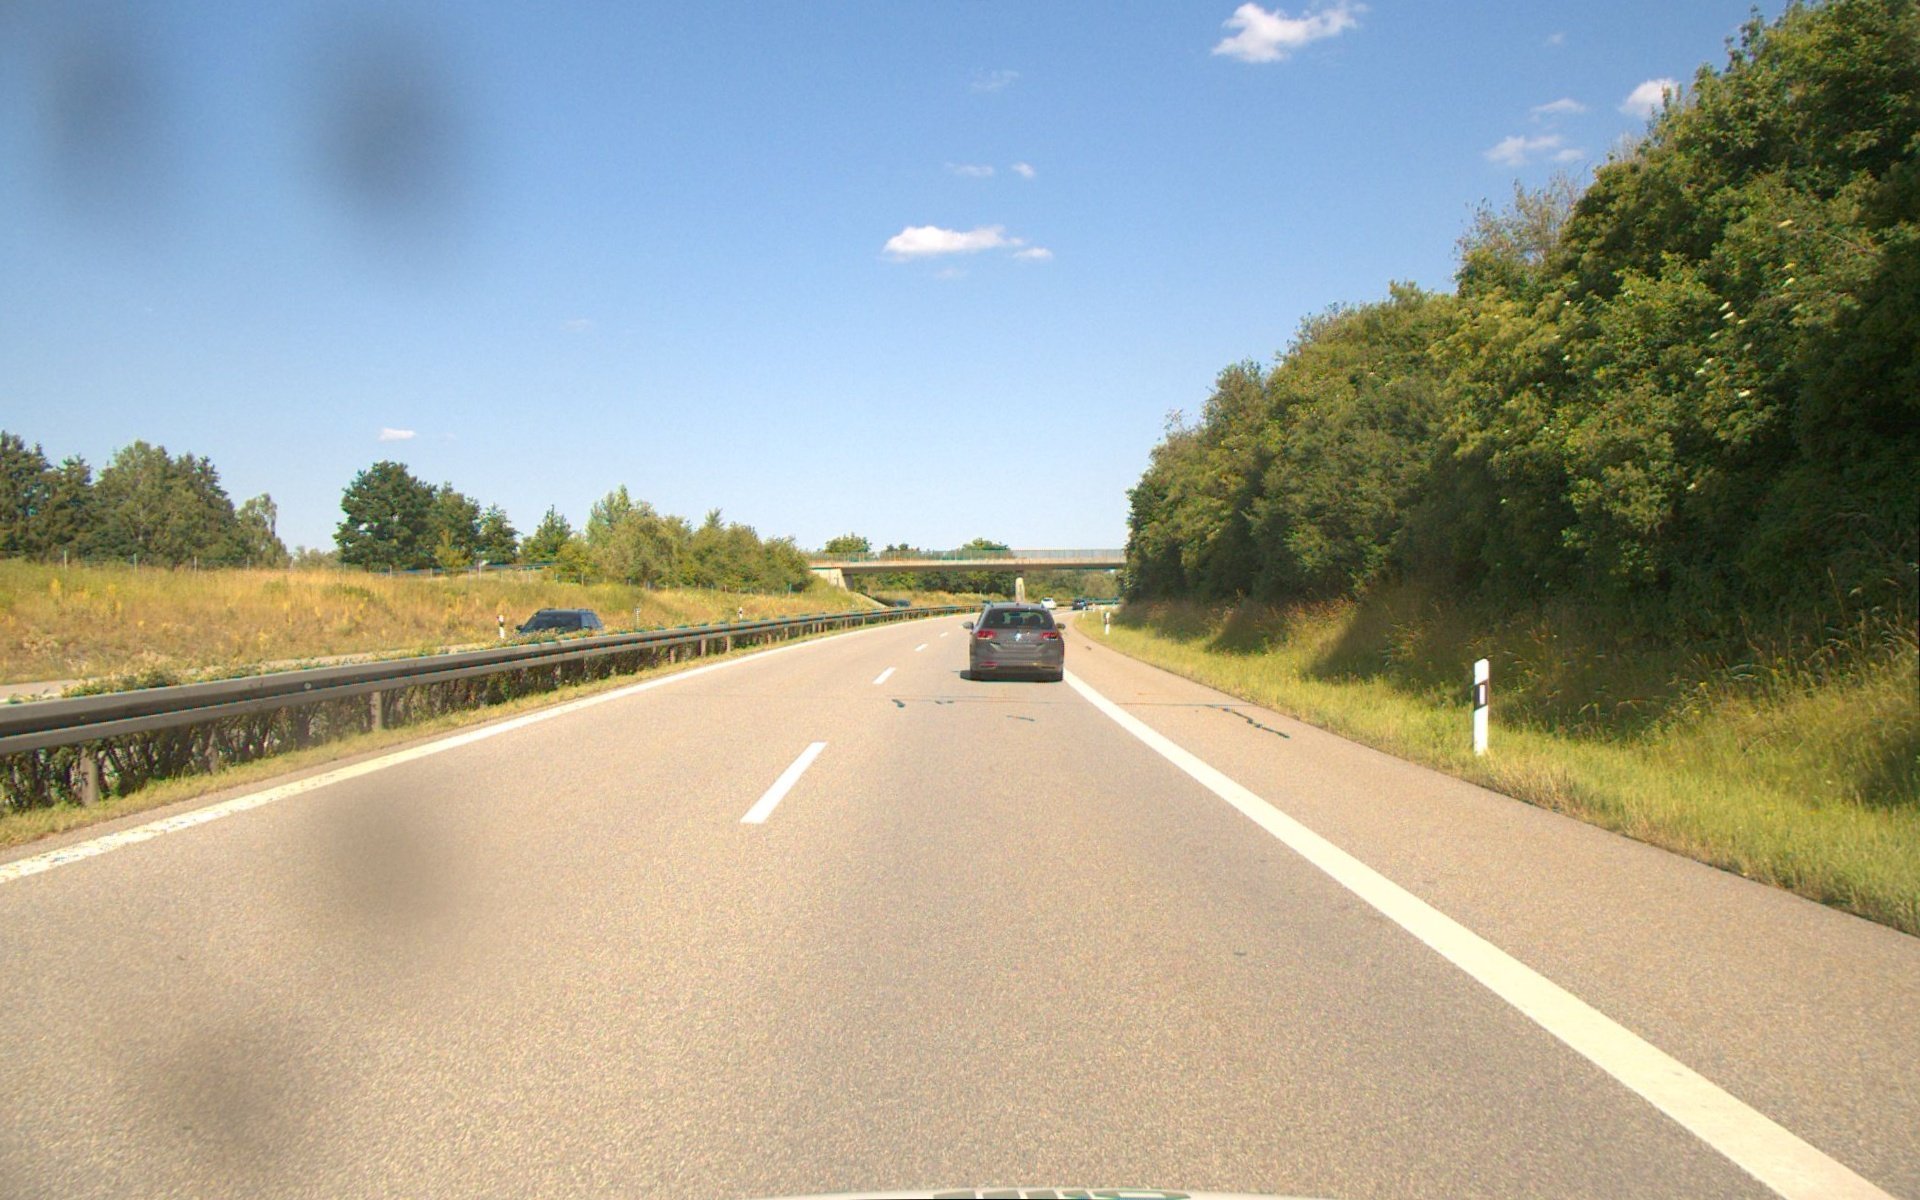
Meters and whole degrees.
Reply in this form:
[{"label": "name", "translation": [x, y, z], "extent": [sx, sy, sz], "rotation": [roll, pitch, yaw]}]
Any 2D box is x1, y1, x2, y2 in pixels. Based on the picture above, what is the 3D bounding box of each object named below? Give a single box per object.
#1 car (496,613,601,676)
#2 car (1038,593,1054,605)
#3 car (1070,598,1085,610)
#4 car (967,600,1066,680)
[{"label": "car", "translation": [-10.773, 1.125, 43.584], "extent": [1.795, 1.534, 4.539], "rotation": [1, 0, -3]}, {"label": "car", "translation": [10.864, -0.070, 208.243], "extent": [1.965, 1.368, 4.001], "rotation": [1, -1, 2]}, {"label": "car", "translation": [14.980, 0.549, 211.018], "extent": [1.675, 1.411, 3.355], "rotation": [1, -1, 0]}, {"label": "car", "translation": [1.076, 0.711, 31.608], "extent": [1.754, 1.368, 4.001], "rotation": [1, 0, 2]}]
